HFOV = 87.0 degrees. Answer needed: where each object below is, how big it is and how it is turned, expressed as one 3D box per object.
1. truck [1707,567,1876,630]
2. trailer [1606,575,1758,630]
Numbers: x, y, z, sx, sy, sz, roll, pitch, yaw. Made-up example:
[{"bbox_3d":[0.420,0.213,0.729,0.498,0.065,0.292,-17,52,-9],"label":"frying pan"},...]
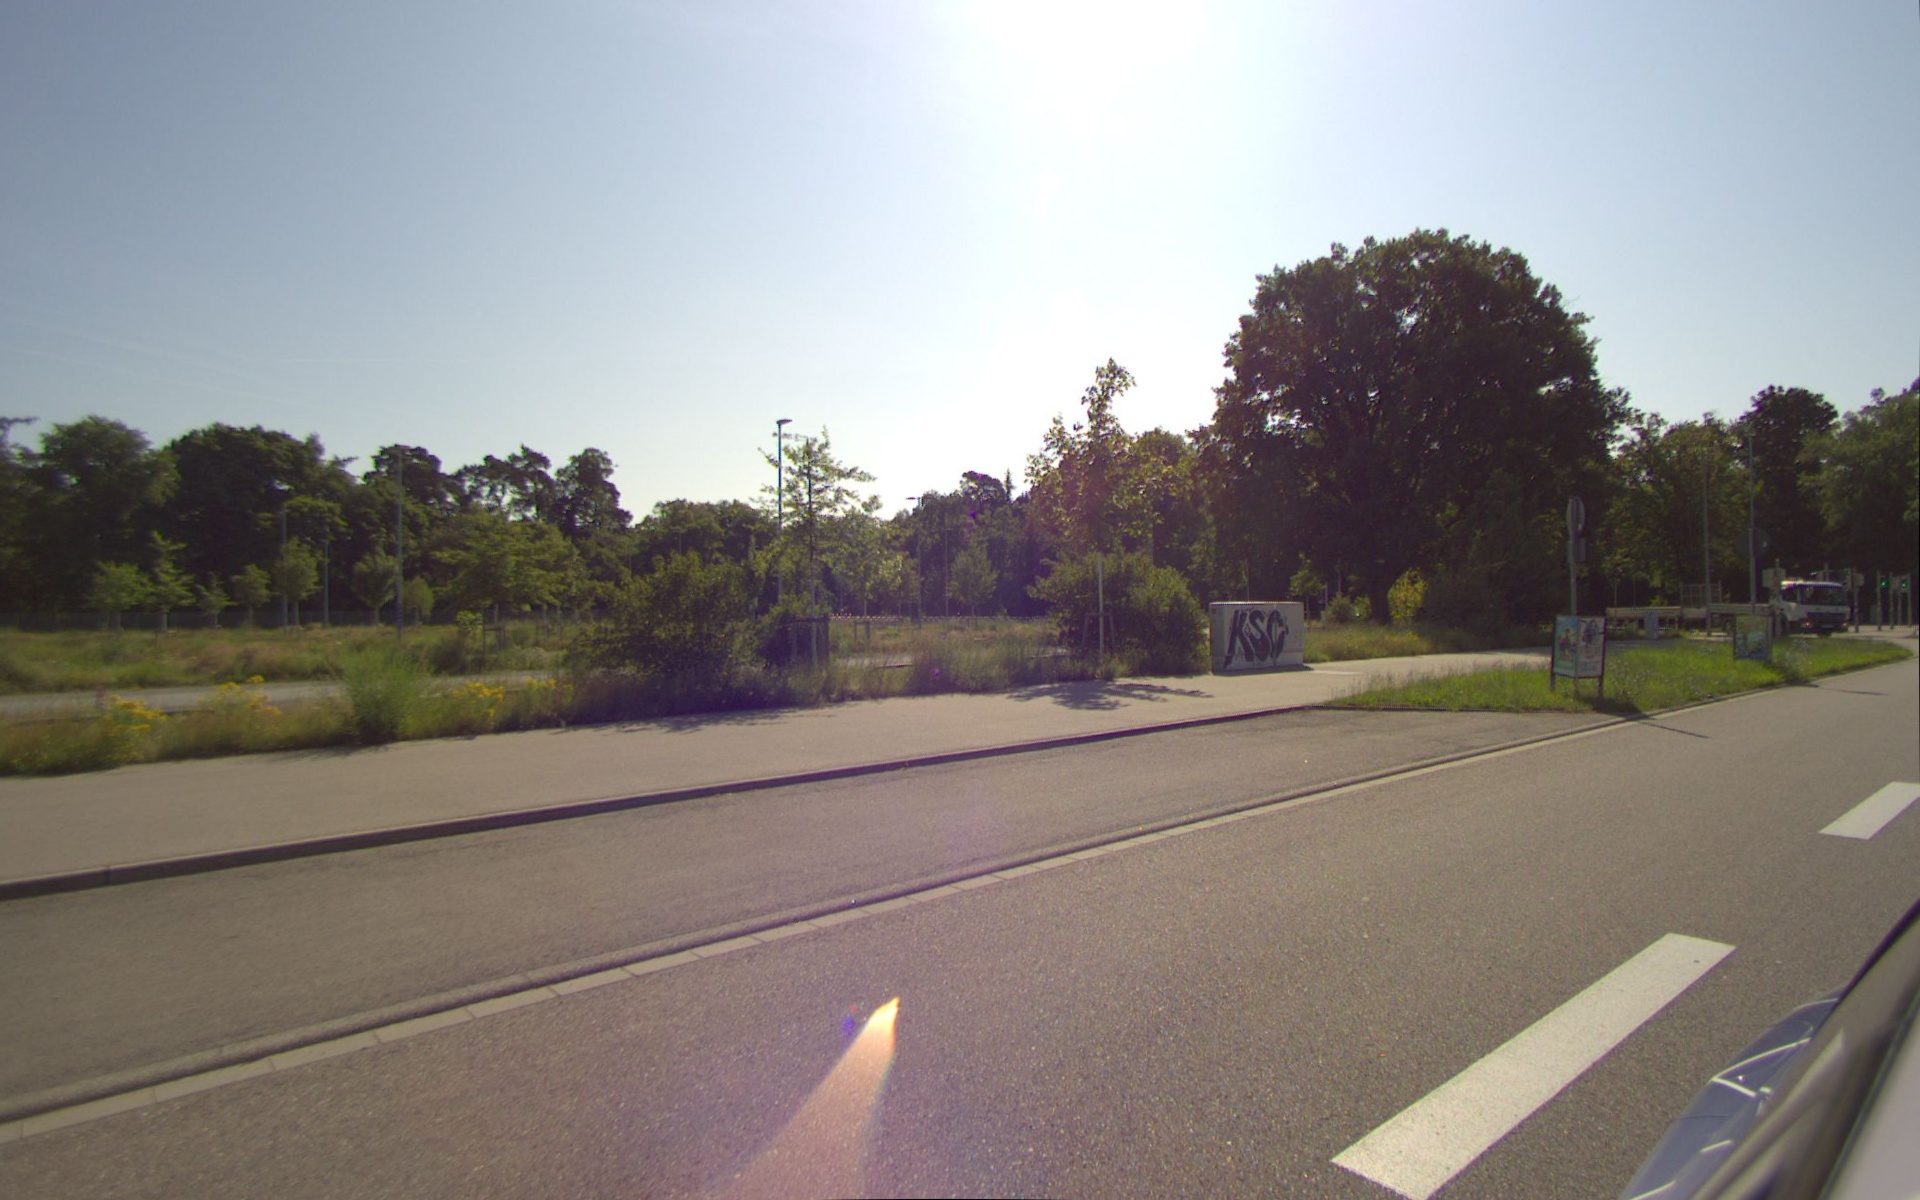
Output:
[{"bbox_3d":[39.409,-0.023,48.263,2.627,2.752,6.206,-1,-1,-3],"label":"truck"},{"bbox_3d":[38.766,0.166,54.694,2.649,2.722,6.895,-1,-1,-7],"label":"trailer"}]
